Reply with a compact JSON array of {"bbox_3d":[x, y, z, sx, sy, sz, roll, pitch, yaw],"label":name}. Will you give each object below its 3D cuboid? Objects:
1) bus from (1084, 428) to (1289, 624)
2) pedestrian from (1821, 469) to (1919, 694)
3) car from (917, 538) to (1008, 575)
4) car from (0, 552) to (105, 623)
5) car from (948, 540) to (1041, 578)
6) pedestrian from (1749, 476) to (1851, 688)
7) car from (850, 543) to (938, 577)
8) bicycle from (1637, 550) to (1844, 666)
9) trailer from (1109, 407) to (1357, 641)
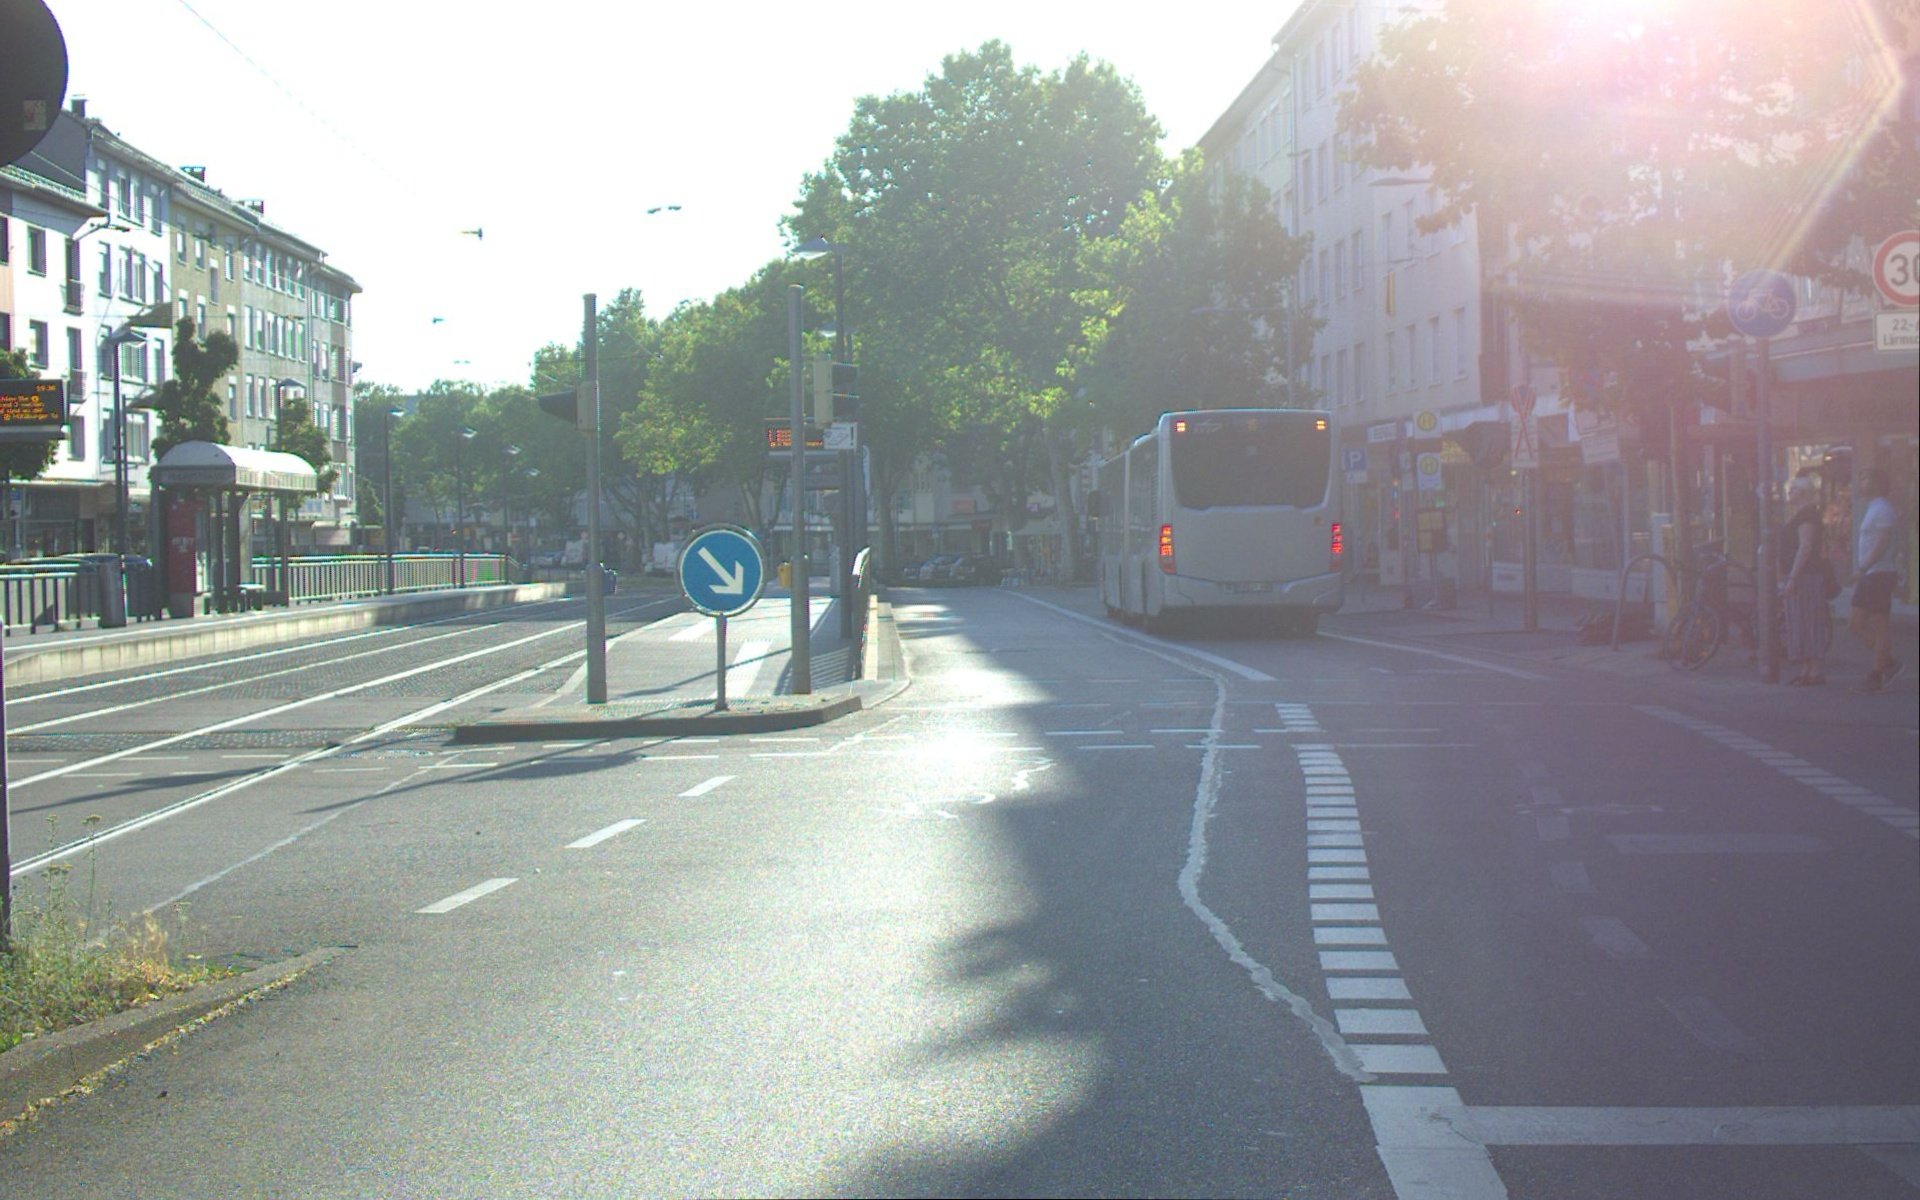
[{"bbox_3d":[3.800,-1.273,59.711,2.812,3.091,9.095,1,1,-1],"label":"bus"},{"bbox_3d":[7.308,-0.152,27.447,0.680,1.764,0.687,-1,1,0],"label":"pedestrian"},{"bbox_3d":[0.105,-2.078,163.050,3.889,1.693,1.833,-2,2,-29],"label":"car"},{"bbox_3d":[-24.954,-0.341,91.268,3.986,1.809,2.000,-2,2,-27],"label":"car"},{"bbox_3d":[1.603,-1.929,160.267,3.889,1.693,1.833,-2,2,-29],"label":"car"},{"bbox_3d":[7.110,-0.157,29.128,0.680,1.764,0.687,-1,1,0],"label":"pedestrian"},{"bbox_3d":[-3.218,-1.961,167.762,3.889,1.591,1.691,-2,2,-29],"label":"car"},{"bbox_3d":[7.410,0.073,32.686,1.772,1.018,0.694,-2,1,-1],"label":"bicycle"},{"bbox_3d":[3.871,-1.108,50.750,2.812,3.099,8.795,1,1,-1],"label":"trailer"}]
